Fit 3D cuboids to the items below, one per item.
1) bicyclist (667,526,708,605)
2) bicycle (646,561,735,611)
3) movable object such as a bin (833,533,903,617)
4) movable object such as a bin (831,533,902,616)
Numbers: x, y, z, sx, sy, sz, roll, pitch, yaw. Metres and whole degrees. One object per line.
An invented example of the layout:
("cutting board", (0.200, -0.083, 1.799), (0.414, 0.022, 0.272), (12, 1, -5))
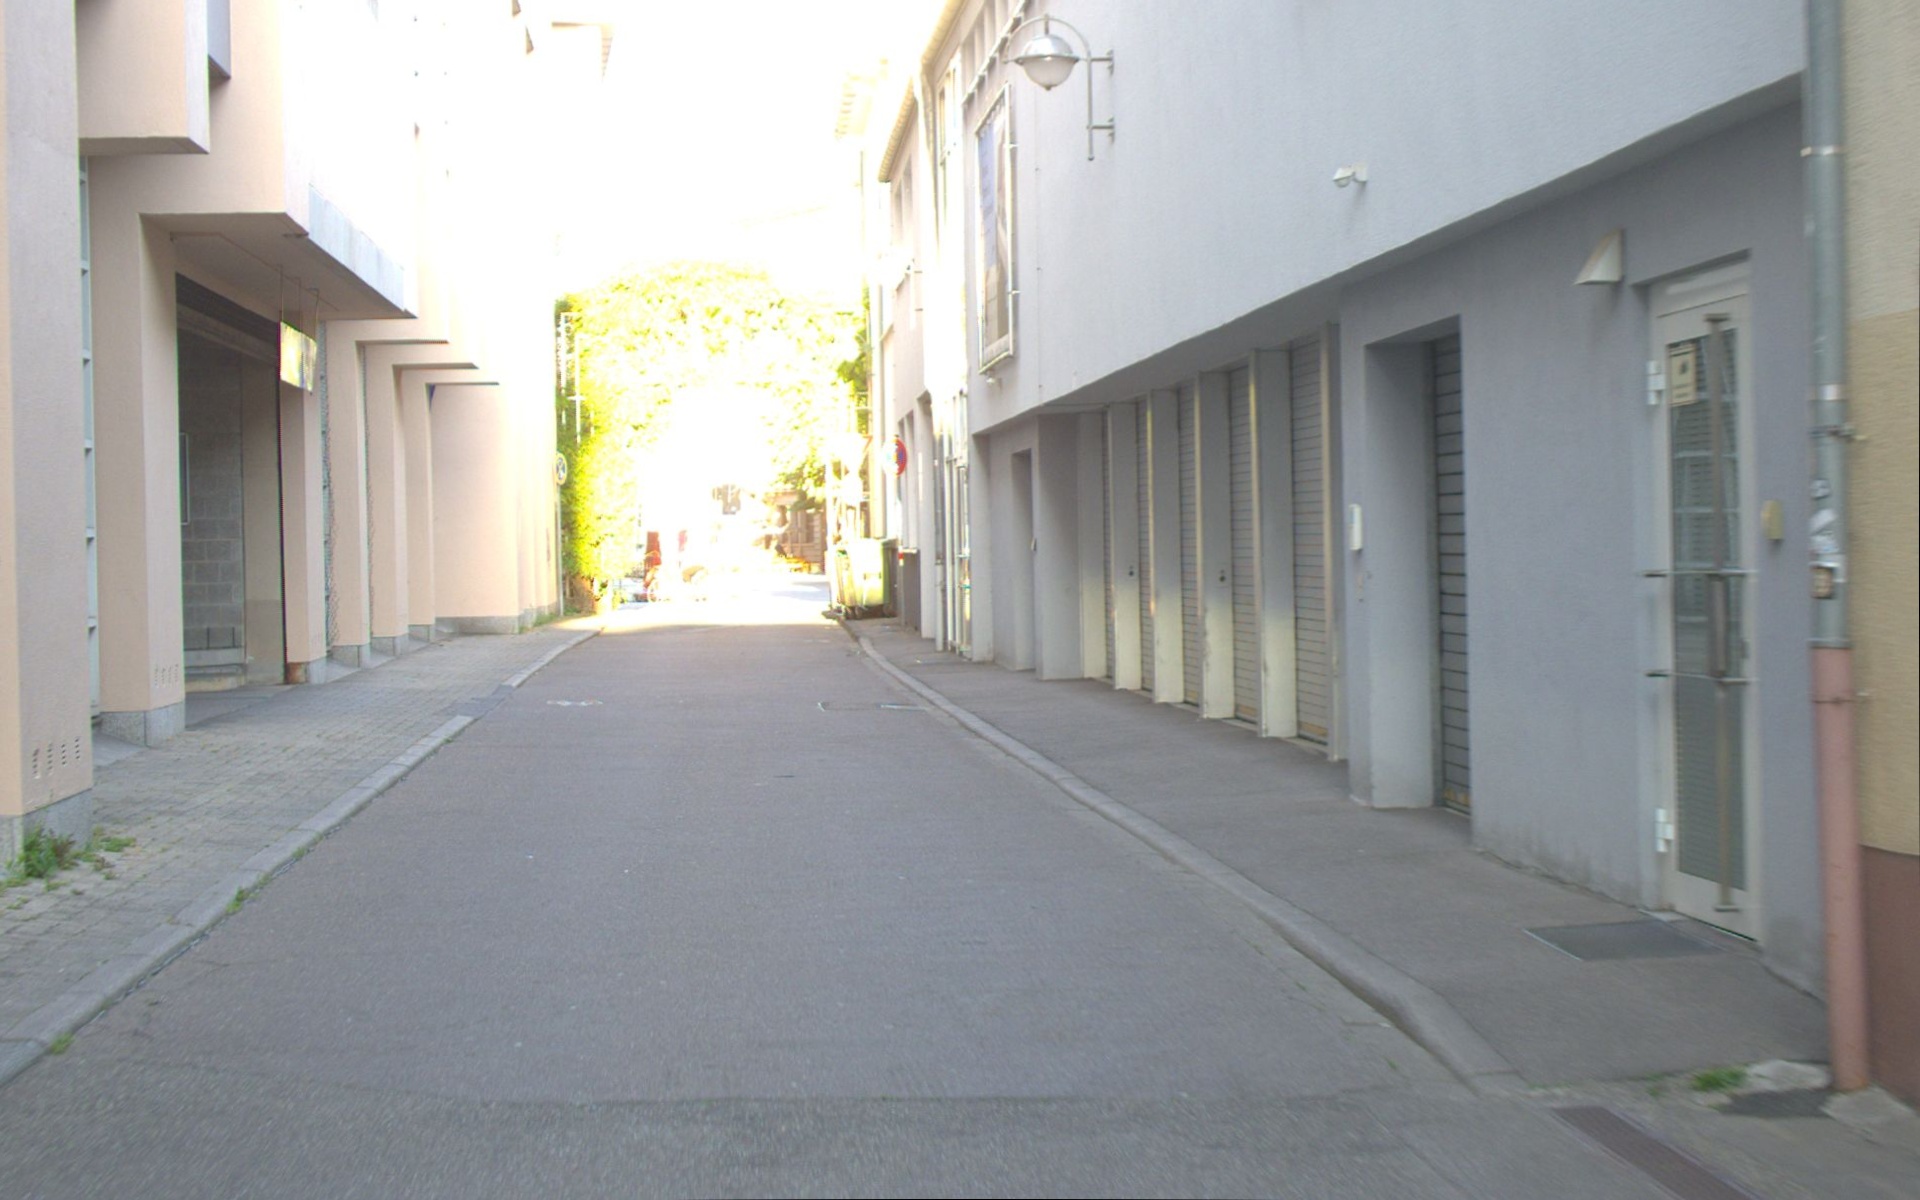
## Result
("bicyclist", (-6.208, -0.781, 78.321), (0.879, 1.779, 0.736), (1, 1, -7))
("bicycle", (-6.148, -0.310, 78.353), (1.984, 1.108, 0.736), (1, 1, -7))
("movable object such as a bin", (-1.571, -0.431, 58.277), (0.937, 1.362, 1.342), (-3, 1, -10))
("movable object such as a bin", (-1.633, -0.446, 59.681), (1.064, 1.362, 1.342), (-3, 1, -6))
